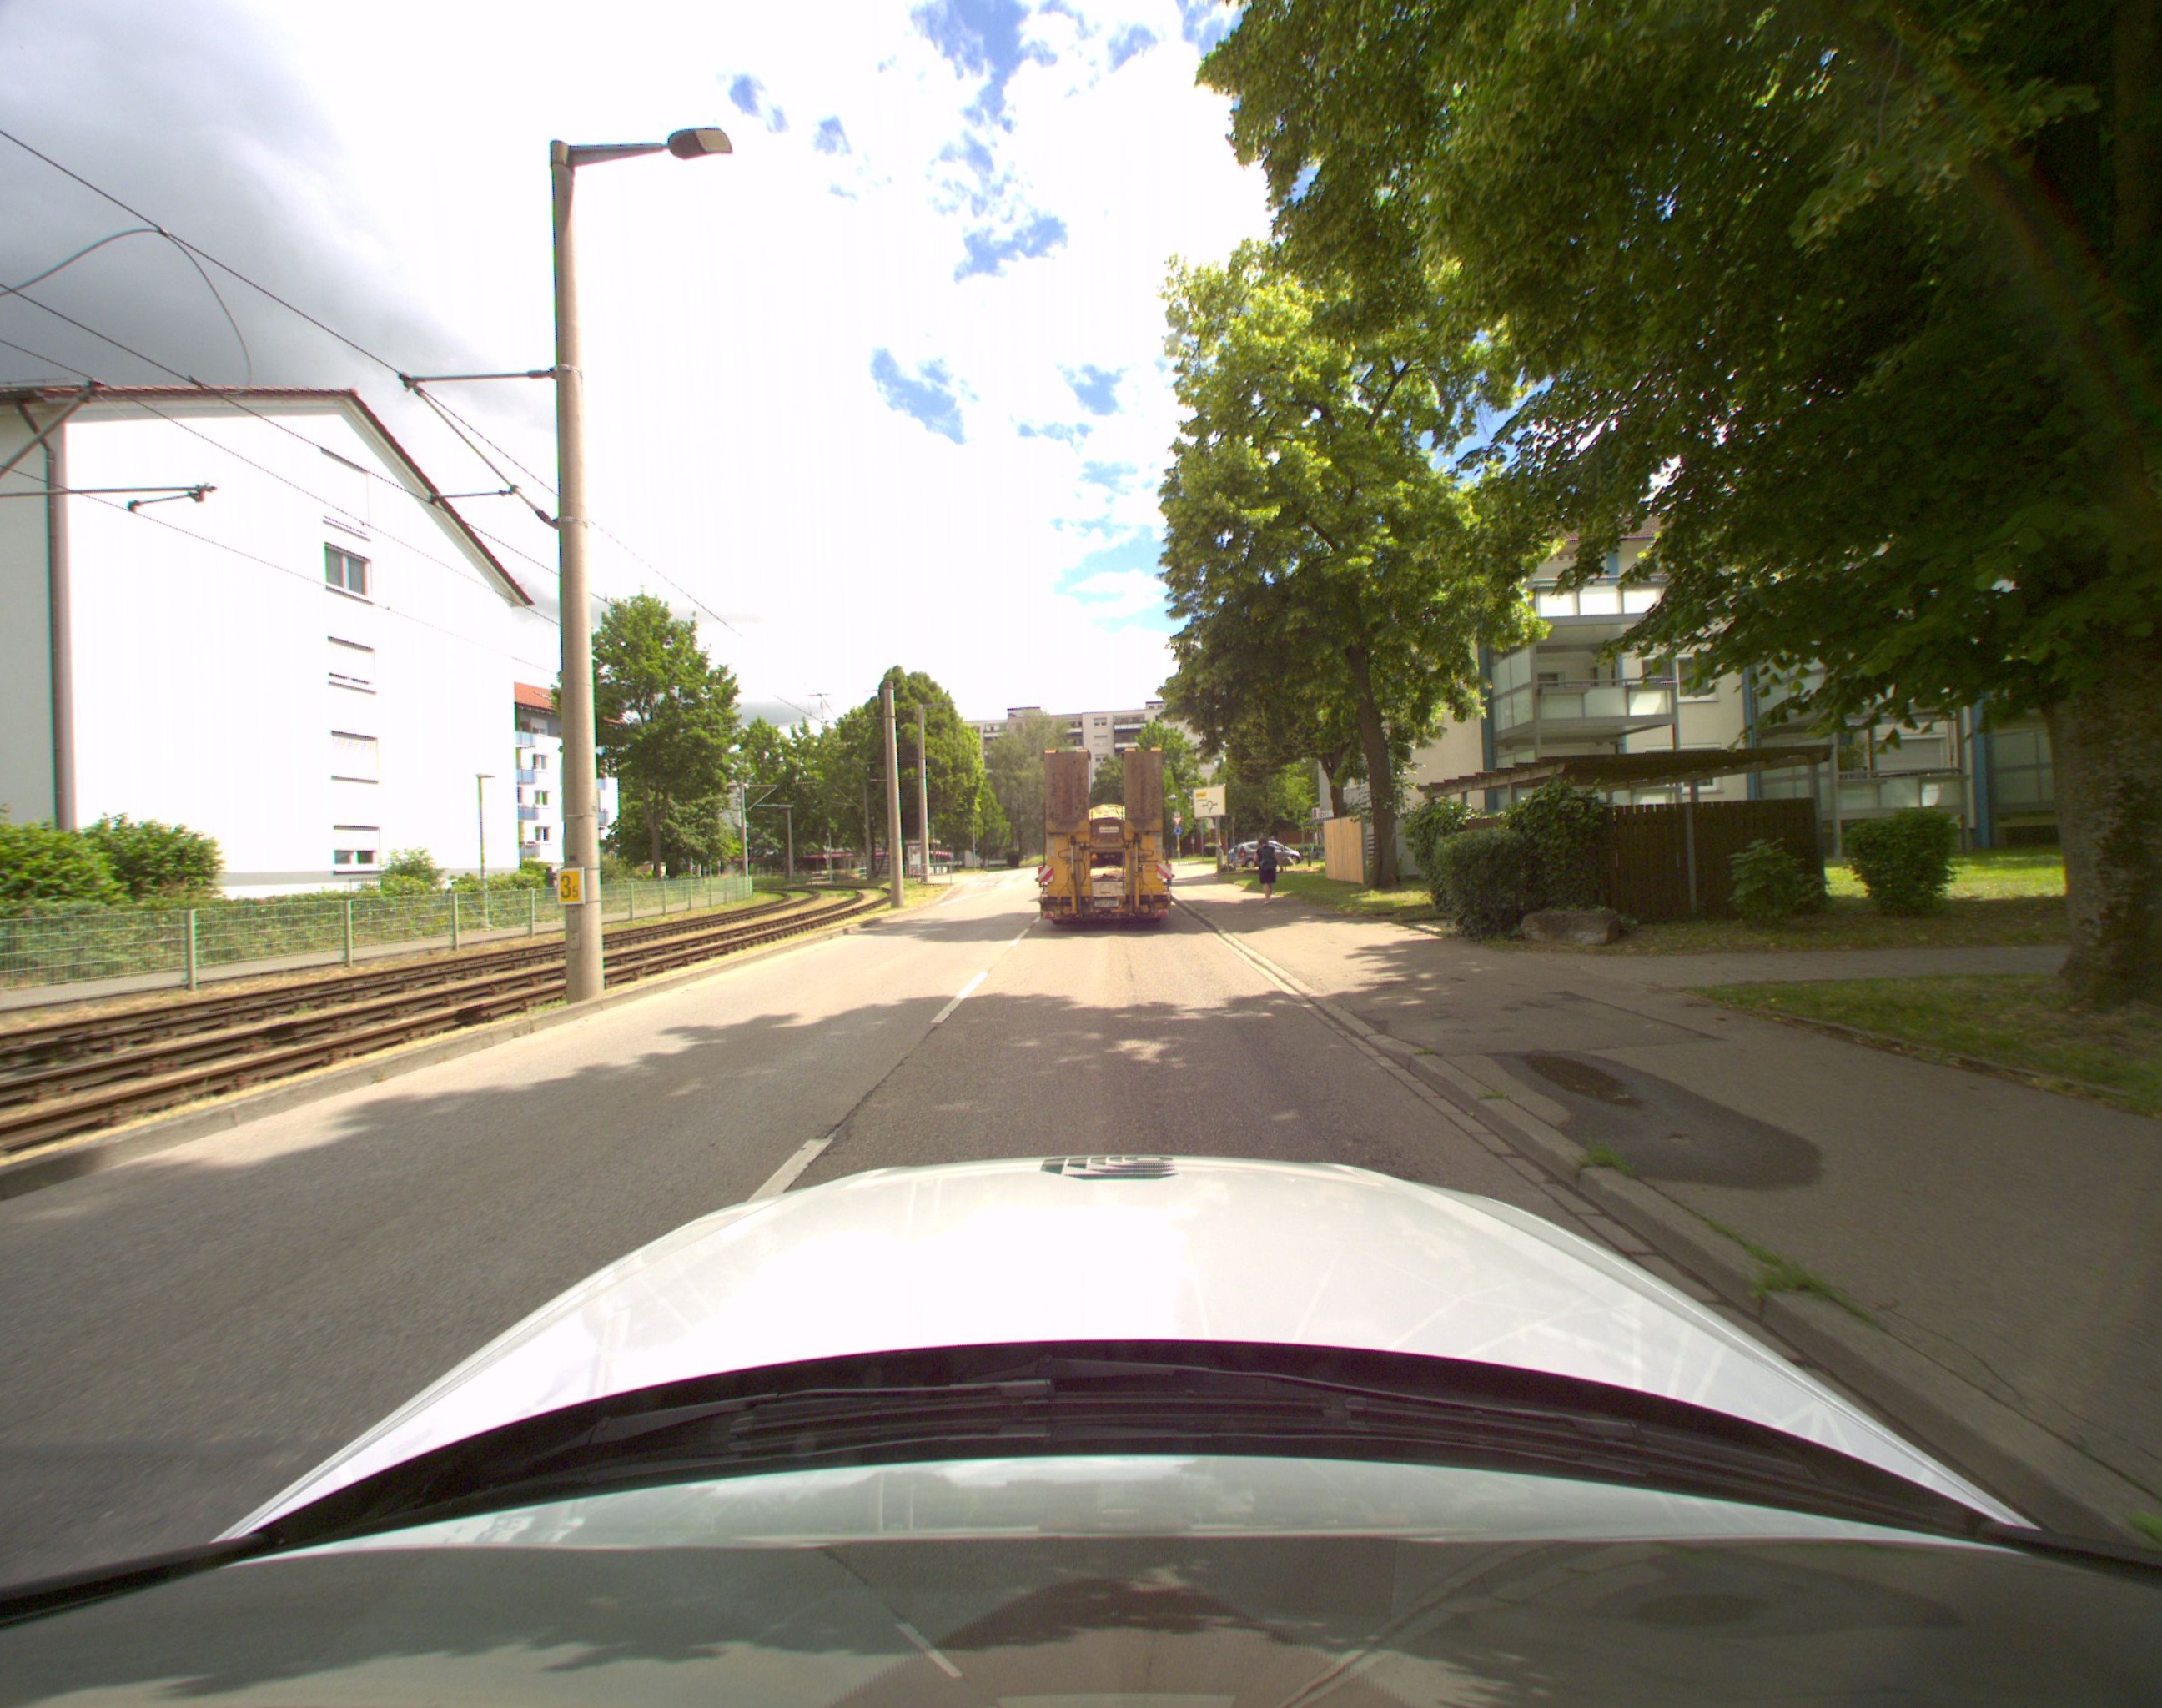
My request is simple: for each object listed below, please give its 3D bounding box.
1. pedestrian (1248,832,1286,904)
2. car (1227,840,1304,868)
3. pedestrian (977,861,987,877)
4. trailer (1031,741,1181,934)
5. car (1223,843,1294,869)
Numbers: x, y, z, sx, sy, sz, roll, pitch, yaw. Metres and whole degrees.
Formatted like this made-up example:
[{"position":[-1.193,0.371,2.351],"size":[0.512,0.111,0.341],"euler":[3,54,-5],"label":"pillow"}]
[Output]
[{"position":[4.629,0.343,20.313],"size":[0.715,1.706,0.766],"euler":[-3,0,1],"label":"pedestrian"},{"position":[10.642,0.010,47.096],"size":[3.988,1.561,1.753],"euler":[-1,0,-11],"label":"car"},{"position":[-12.148,1.849,100.273],"size":[0.913,2.013,0.953],"euler":[-1,0,-29],"label":"pedestrian"},{"position":[0.299,-0.333,21.655],"size":[2.820,3.646,12.344],"euler":[-1,0,-2],"label":"trailer"},{"position":[11.019,0.129,50.617],"size":[3.988,1.561,1.753],"euler":[-1,0,-11],"label":"car"}]
